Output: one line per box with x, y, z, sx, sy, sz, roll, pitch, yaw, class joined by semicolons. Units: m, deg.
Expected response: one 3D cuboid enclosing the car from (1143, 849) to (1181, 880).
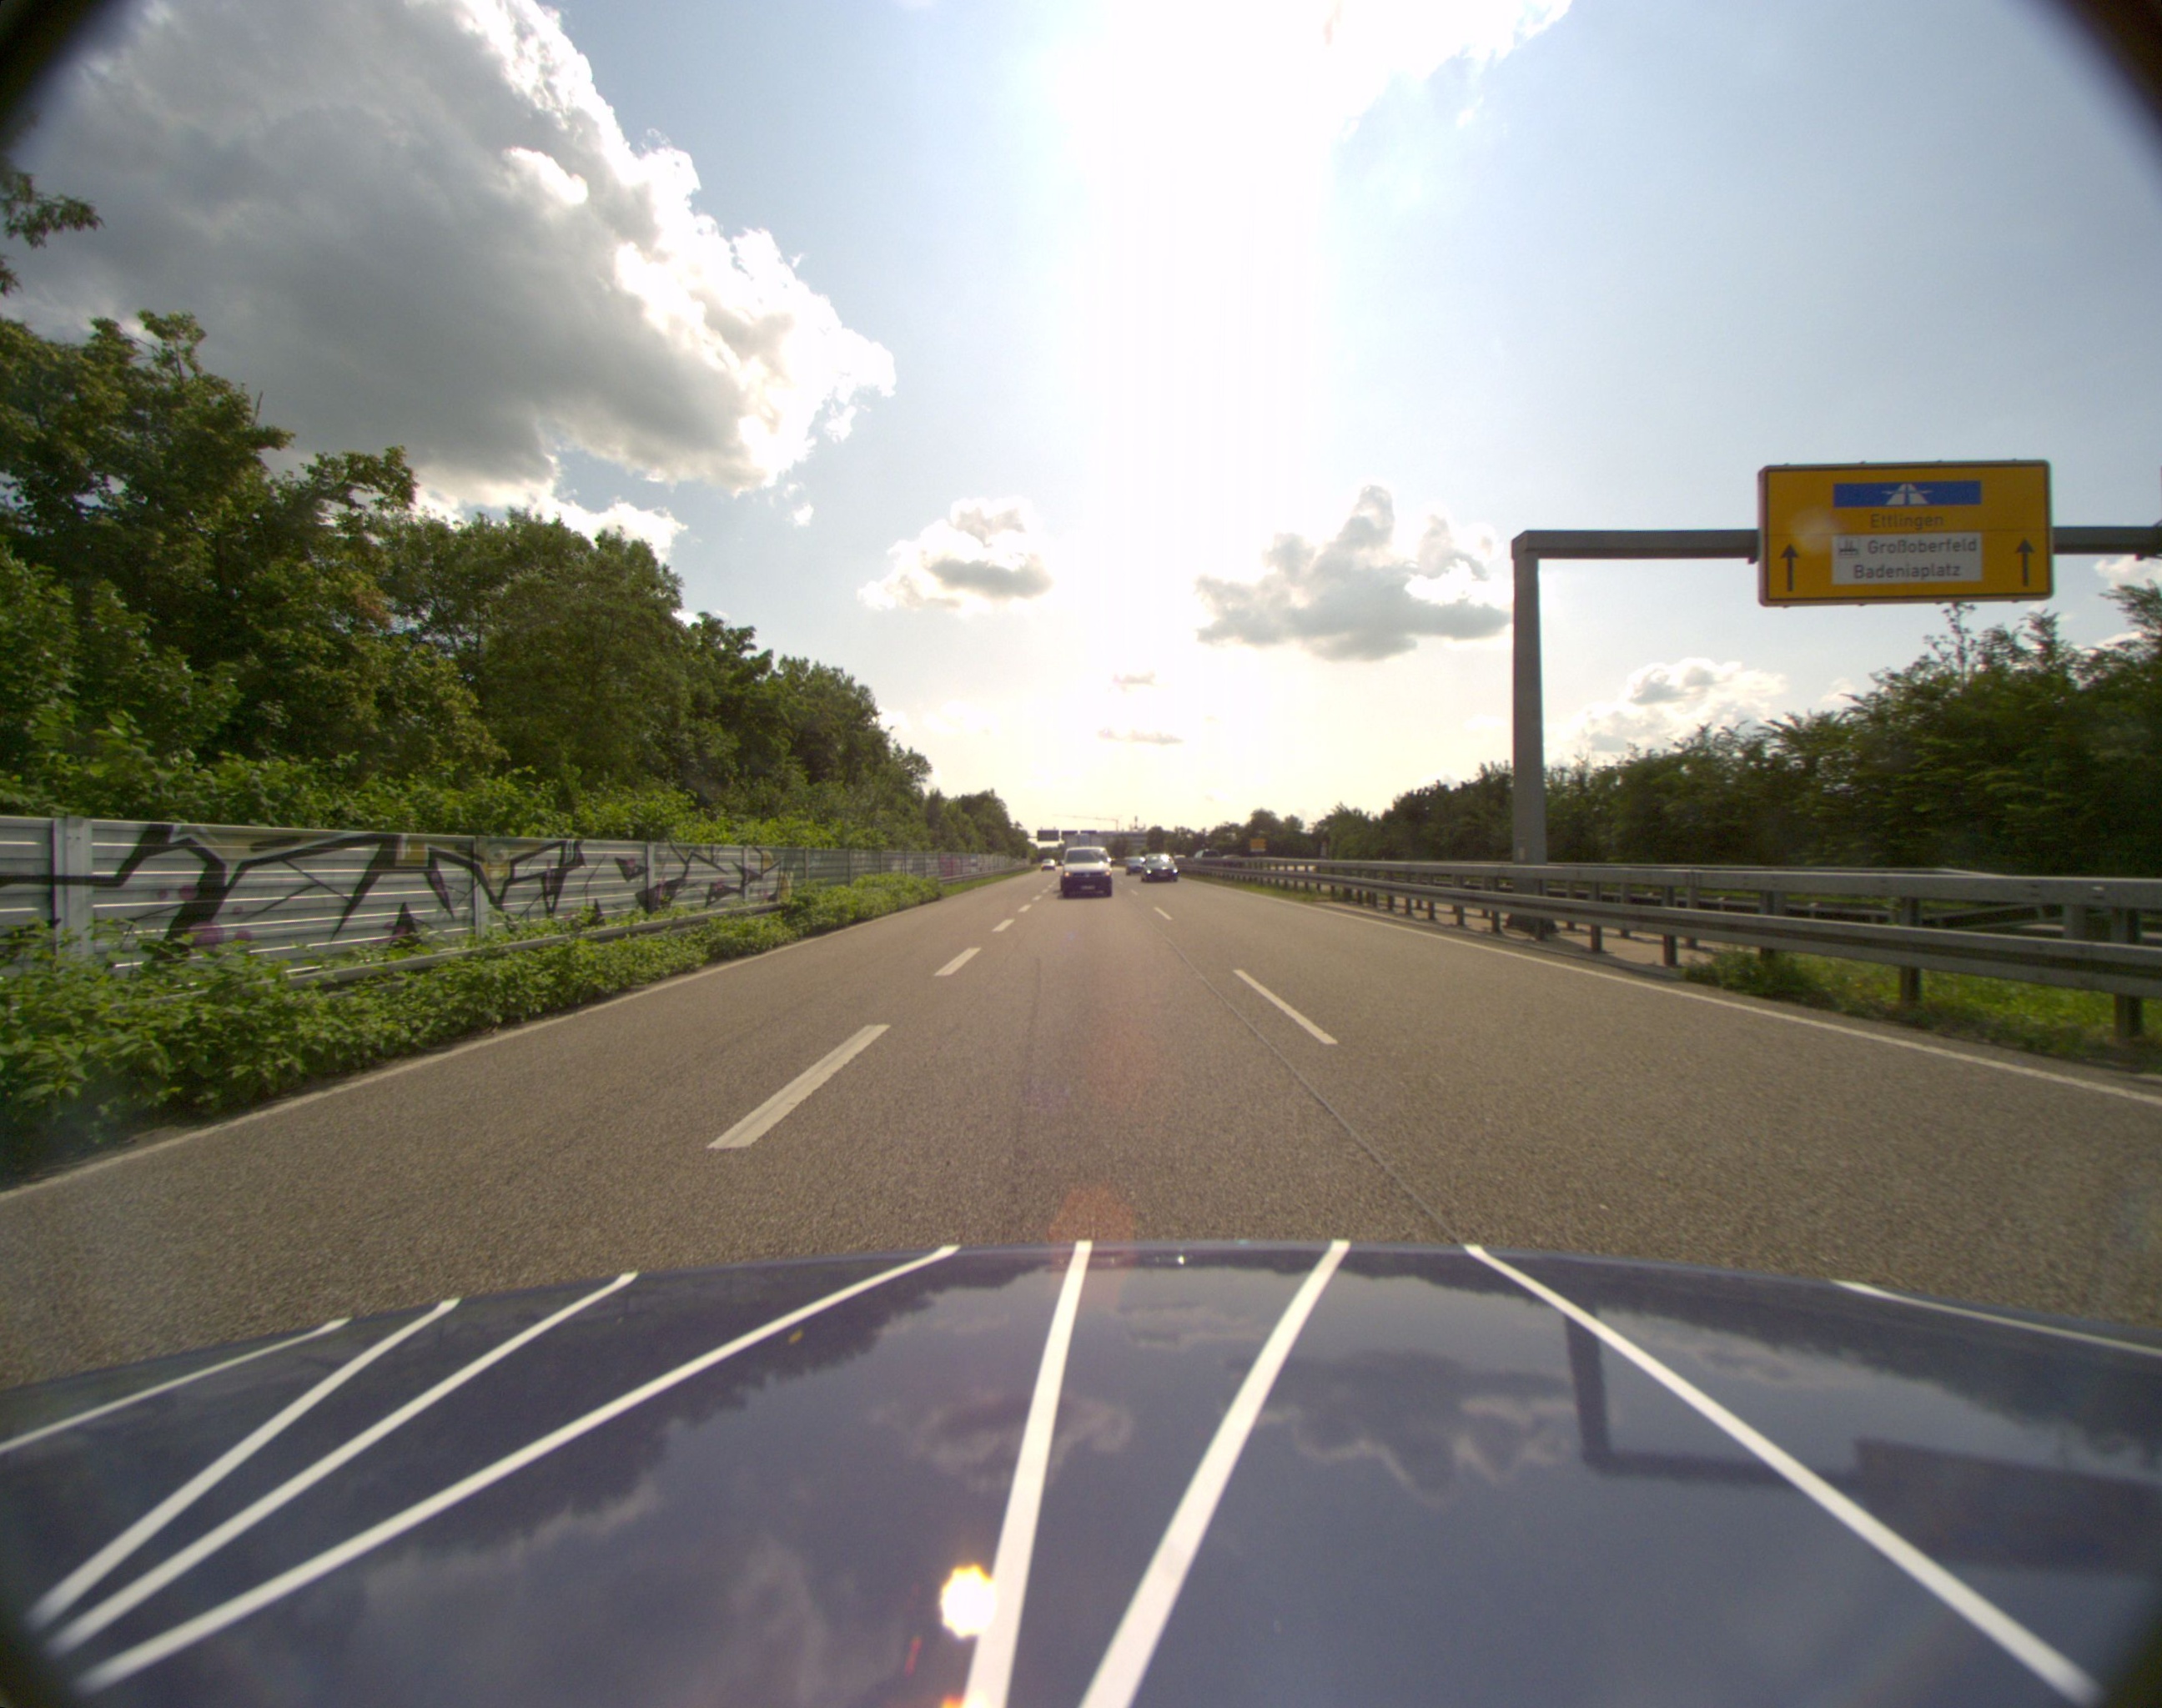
4.533;0.562;42.972;1.716;1.519;4.592;-3;1;1;car

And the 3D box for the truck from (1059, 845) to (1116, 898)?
0.276;0.628;29.896;2.008;1.905;4.000;-2;1;1;truck

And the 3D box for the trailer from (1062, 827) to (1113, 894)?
0.284;0.224;34.954;1.998;2.723;5.966;-3;1;1;trailer

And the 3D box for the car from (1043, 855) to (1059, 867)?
-3.809;0.878;97.068;1.768;1.404;3.771;-3;1;1;car

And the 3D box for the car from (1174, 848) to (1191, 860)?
15.248;0.017;113.946;1.966;1.636;4.549;-3;1;1;car

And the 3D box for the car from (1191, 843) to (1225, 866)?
11.203;-0.017;67.320;1.998;1.853;5.391;-3;1;0;car

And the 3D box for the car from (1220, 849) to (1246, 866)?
15.534;0.369;77.894;1.706;1.566;4.555;-3;1;0;car

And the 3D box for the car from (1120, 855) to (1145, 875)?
4.031;0.812;59.932;1.625;1.404;3.770;-3;1;-1;car
